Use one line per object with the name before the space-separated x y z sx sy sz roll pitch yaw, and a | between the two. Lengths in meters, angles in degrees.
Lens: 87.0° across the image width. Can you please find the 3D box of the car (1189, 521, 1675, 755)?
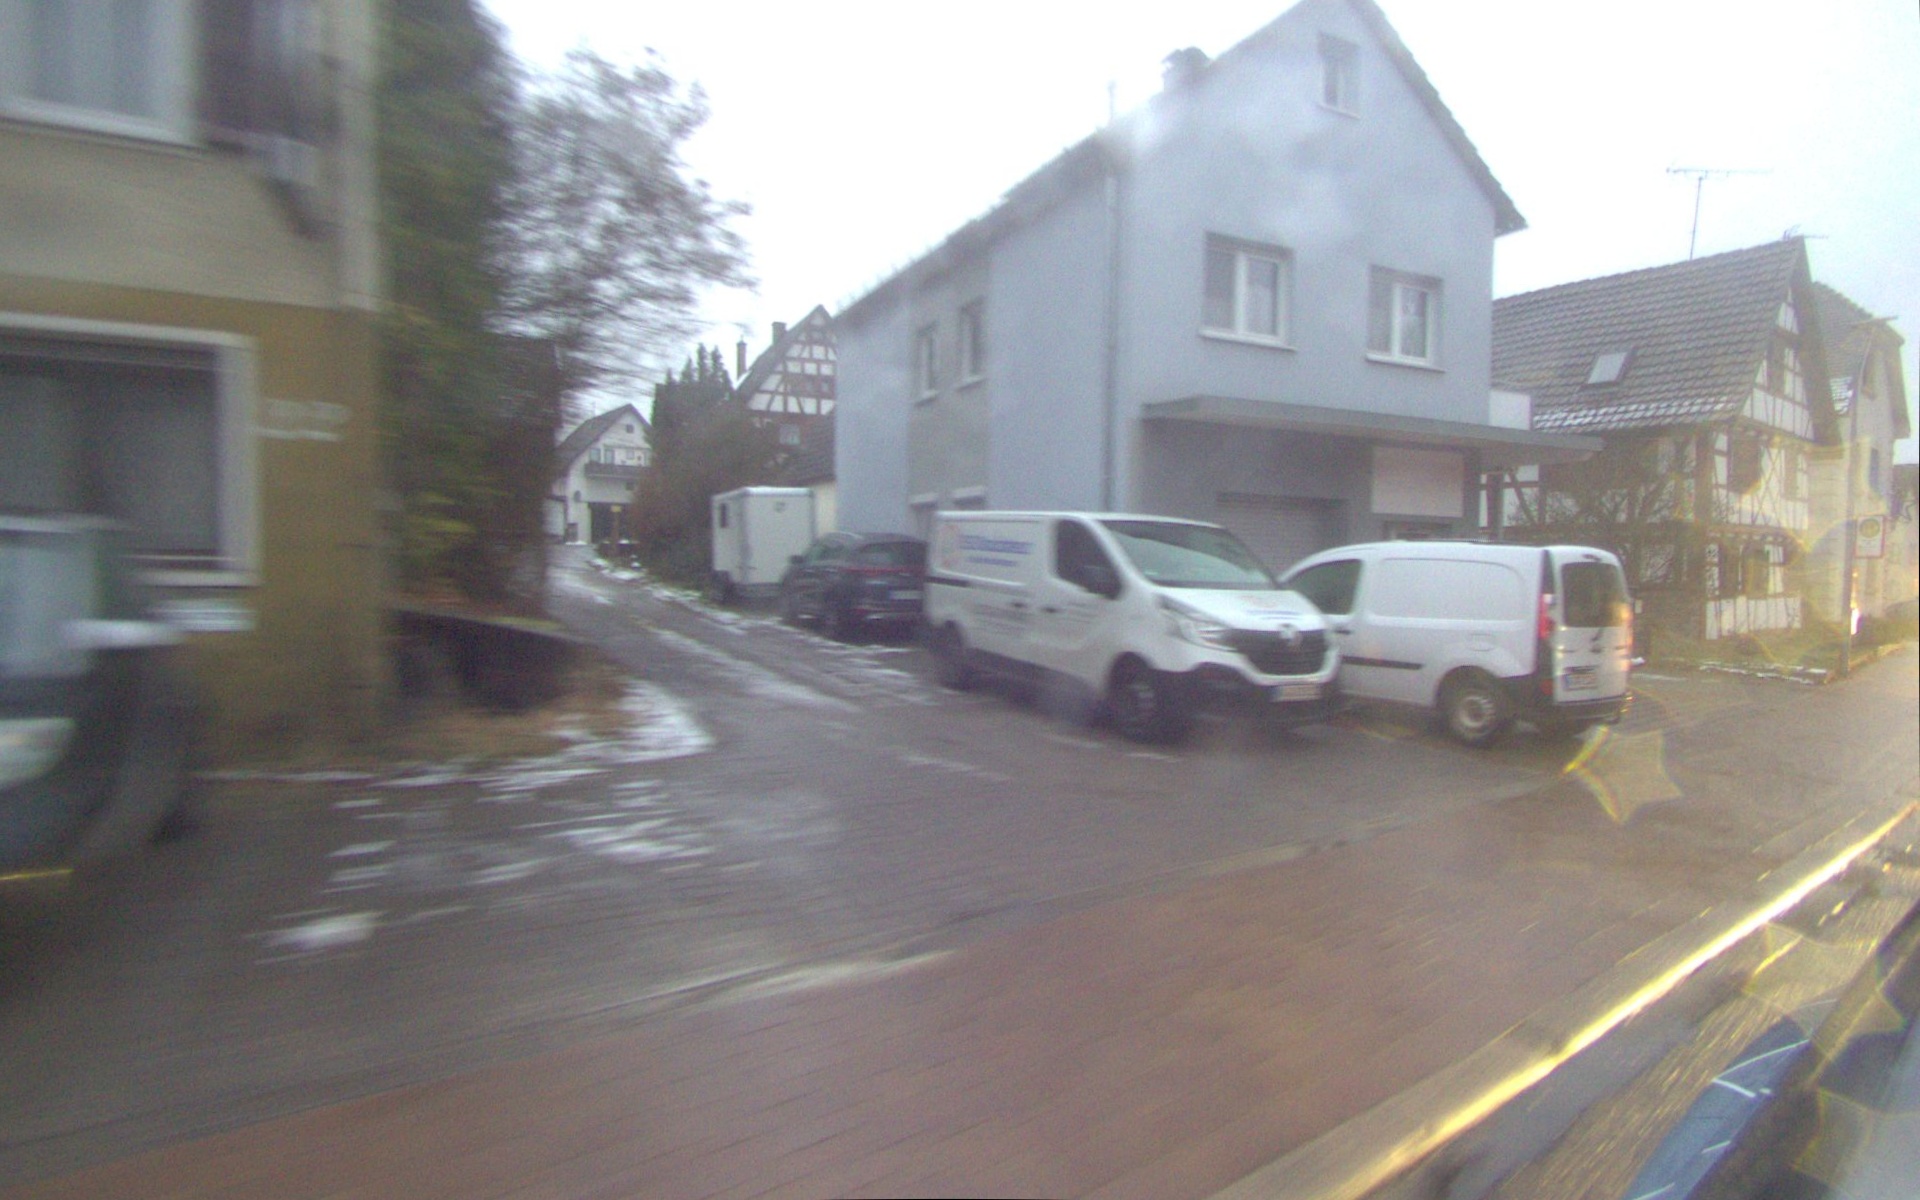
car | 4.508 0.176 10.286 1.828 1.865 4.058 0 4 -34

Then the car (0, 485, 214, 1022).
car | -3.824 0.348 3.716 1.398 1.492 2.777 0 3 -29

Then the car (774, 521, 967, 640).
car | -1.616 -0.413 16.686 1.842 1.641 4.010 0 5 -26

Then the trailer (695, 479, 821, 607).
trailer | -4.578 -1.351 22.463 1.801 2.546 4.012 0 6 -25

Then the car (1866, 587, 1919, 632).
car | 37.382 0.401 38.829 3.843 1.647 1.586 4 3 44

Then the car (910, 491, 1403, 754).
car | 1.518 0.011 9.984 1.898 1.912 5.006 1 3 -30

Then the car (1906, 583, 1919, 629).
car | 41.822 0.330 41.836 3.878 1.900 1.840 3 2 43
